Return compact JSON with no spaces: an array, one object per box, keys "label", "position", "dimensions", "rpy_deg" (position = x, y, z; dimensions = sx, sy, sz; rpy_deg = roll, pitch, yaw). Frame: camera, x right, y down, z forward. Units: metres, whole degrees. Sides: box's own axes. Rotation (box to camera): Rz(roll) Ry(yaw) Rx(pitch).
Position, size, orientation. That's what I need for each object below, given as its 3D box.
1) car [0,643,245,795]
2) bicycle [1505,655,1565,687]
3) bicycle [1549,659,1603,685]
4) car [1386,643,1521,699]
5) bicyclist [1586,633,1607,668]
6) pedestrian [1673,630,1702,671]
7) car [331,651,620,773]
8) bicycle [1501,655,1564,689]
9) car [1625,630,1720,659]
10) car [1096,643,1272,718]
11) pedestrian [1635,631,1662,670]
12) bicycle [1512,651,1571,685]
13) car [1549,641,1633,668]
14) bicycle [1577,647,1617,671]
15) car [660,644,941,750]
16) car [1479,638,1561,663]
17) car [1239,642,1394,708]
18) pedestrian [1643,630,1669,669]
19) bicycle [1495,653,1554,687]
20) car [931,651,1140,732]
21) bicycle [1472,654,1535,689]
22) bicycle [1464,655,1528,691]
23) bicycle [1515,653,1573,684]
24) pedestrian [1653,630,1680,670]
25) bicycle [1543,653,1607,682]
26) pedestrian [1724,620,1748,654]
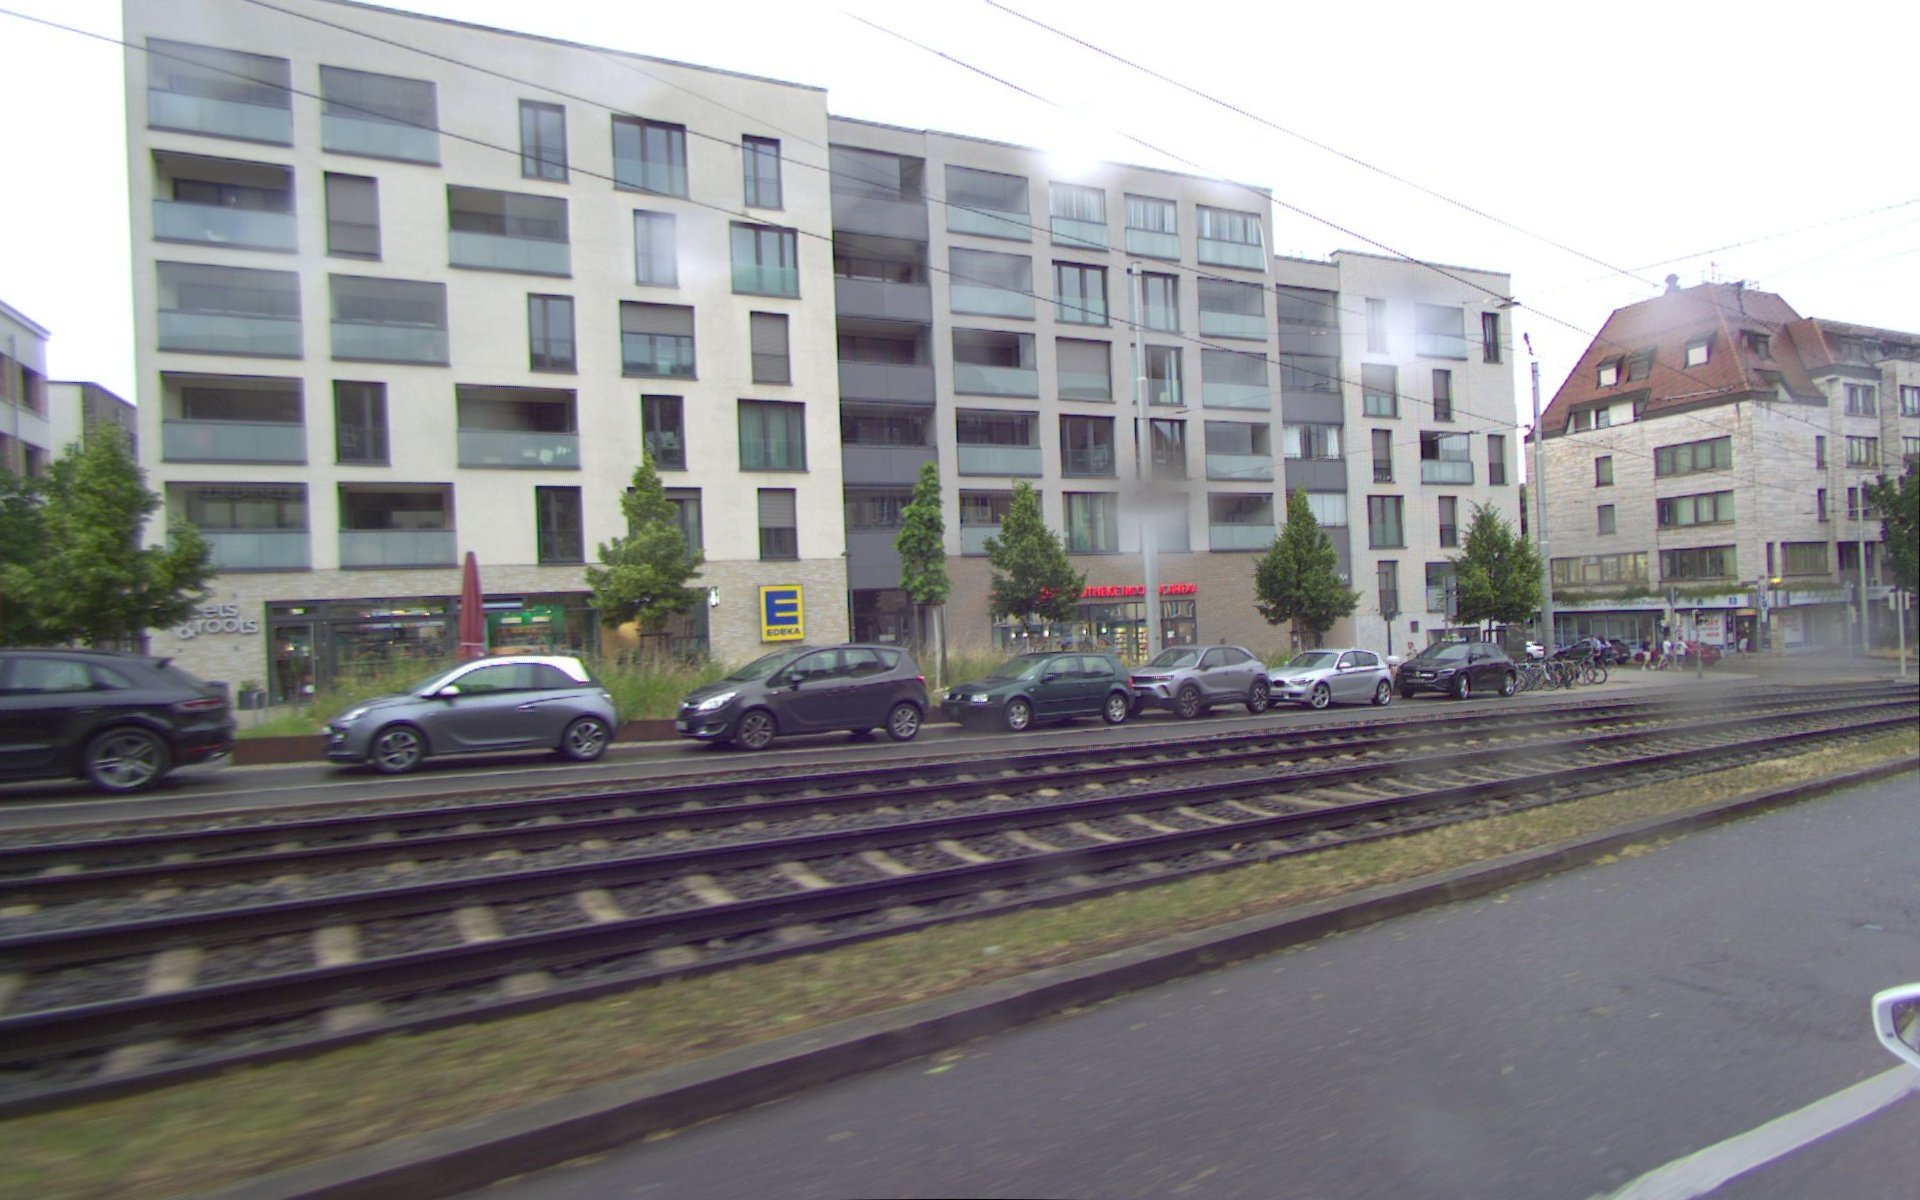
[{"label":"car","position":[-10.638,1.276,11.101],"dimensions":[4.360,1.581,1.755],"rpy_deg":[2,-3,-34]},{"label":"bicycle","position":[20.230,2.483,35.346],"dimensions":[1.776,1.078,0.455],"rpy_deg":[-1,-2,42]},{"label":"bicycle","position":[22.639,2.637,36.936],"dimensions":[0.565,0.877,1.633],"rpy_deg":[1,-2,-44]},{"label":"car","position":[14.417,2.030,29.295],"dimensions":[4.199,1.523,1.897],"rpy_deg":[2,-4,-38]},{"label":"bicyclist","position":[29.278,2.322,46.227],"dimensions":[0.690,1.594,0.461],"rpy_deg":[1,-2,-15]},{"label":"pedestrian","position":[36.737,2.530,50.707],"dimensions":[0.757,2.040,0.936],"rpy_deg":[1,-2,-34]},{"label":"car","position":[-6.644,1.452,13.870],"dimensions":[3.415,1.454,1.540],"rpy_deg":[2,-3,-34]},{"label":"bicycle","position":[19.099,2.383,33.549],"dimensions":[1.776,1.078,0.455],"rpy_deg":[-1,-2,42]},{"label":"car","position":[40.934,2.549,57.812],"dimensions":[1.799,1.589,4.122],"rpy_deg":[1,-2,-25]},{"label":"car","position":[5.024,1.726,22.316],"dimensions":[3.887,1.523,1.759],"rpy_deg":[2,-4,-38]},{"label":"pedestrian","position":[36.149,2.628,52.725],"dimensions":[0.758,2.040,0.934],"rpy_deg":[1,-2,-38]},{"label":"bicycle","position":[20.773,2.420,35.901],"dimensions":[1.773,1.123,0.454],"rpy_deg":[-1,-2,36]},{"label":"car","position":[39.074,3.356,62.310],"dimensions":[1.799,1.589,4.122],"rpy_deg":[1,-2,-25]},{"label":"bicycle","position":[29.331,2.707,46.235],"dimensions":[1.772,1.078,0.456],"rpy_deg":[0,-1,-15]},{"label":"car","position":[-2.554,1.505,16.528],"dimensions":[4.274,1.533,1.709],"rpy_deg":[2,-3,-34]},{"label":"car","position":[37.044,3.347,66.543],"dimensions":[1.882,1.589,4.447],"rpy_deg":[1,-2,-25]},{"label":"car","position":[8.980,1.826,25.175],"dimensions":[4.048,1.523,1.759],"rpy_deg":[2,-4,-38]},{"label":"pedestrian","position":[37.045,2.642,53.473],"dimensions":[0.758,2.040,0.934],"rpy_deg":[1,-2,-38]},{"label":"bicycle","position":[19.473,2.401,34.662],"dimensions":[0.480,1.086,1.760],"rpy_deg":[1,-2,-31]},{"label":"car","position":[1.515,1.702,19.524],"dimensions":[3.969,1.380,1.540],"rpy_deg":[2,-2,-34]},{"label":"bicycle","position":[17.981,2.367,33.271],"dimensions":[0.454,1.078,1.778],"rpy_deg":[1,-2,-45]},{"label":"bicycle","position":[17.492,2.374,32.814],"dimensions":[0.454,1.078,1.781],"rpy_deg":[1,-2,-41]},{"label":"bicycle","position":[21.516,2.529,37.048],"dimensions":[1.778,1.078,0.566],"rpy_deg":[-1,-2,44]},{"label":"pedestrian","position":[36.308,2.561,51.601],"dimensions":[0.758,2.040,0.934],"rpy_deg":[1,-2,-38]},{"label":"bicycle","position":[23.204,2.536,37.927],"dimensions":[0.716,1.041,1.931],"rpy_deg":[1,-2,-43]},{"label":"pedestrian","position":[45.185,2.168,58.486],"dimensions":[0.818,1.957,0.898],"rpy_deg":[1,-2,-38]}]
